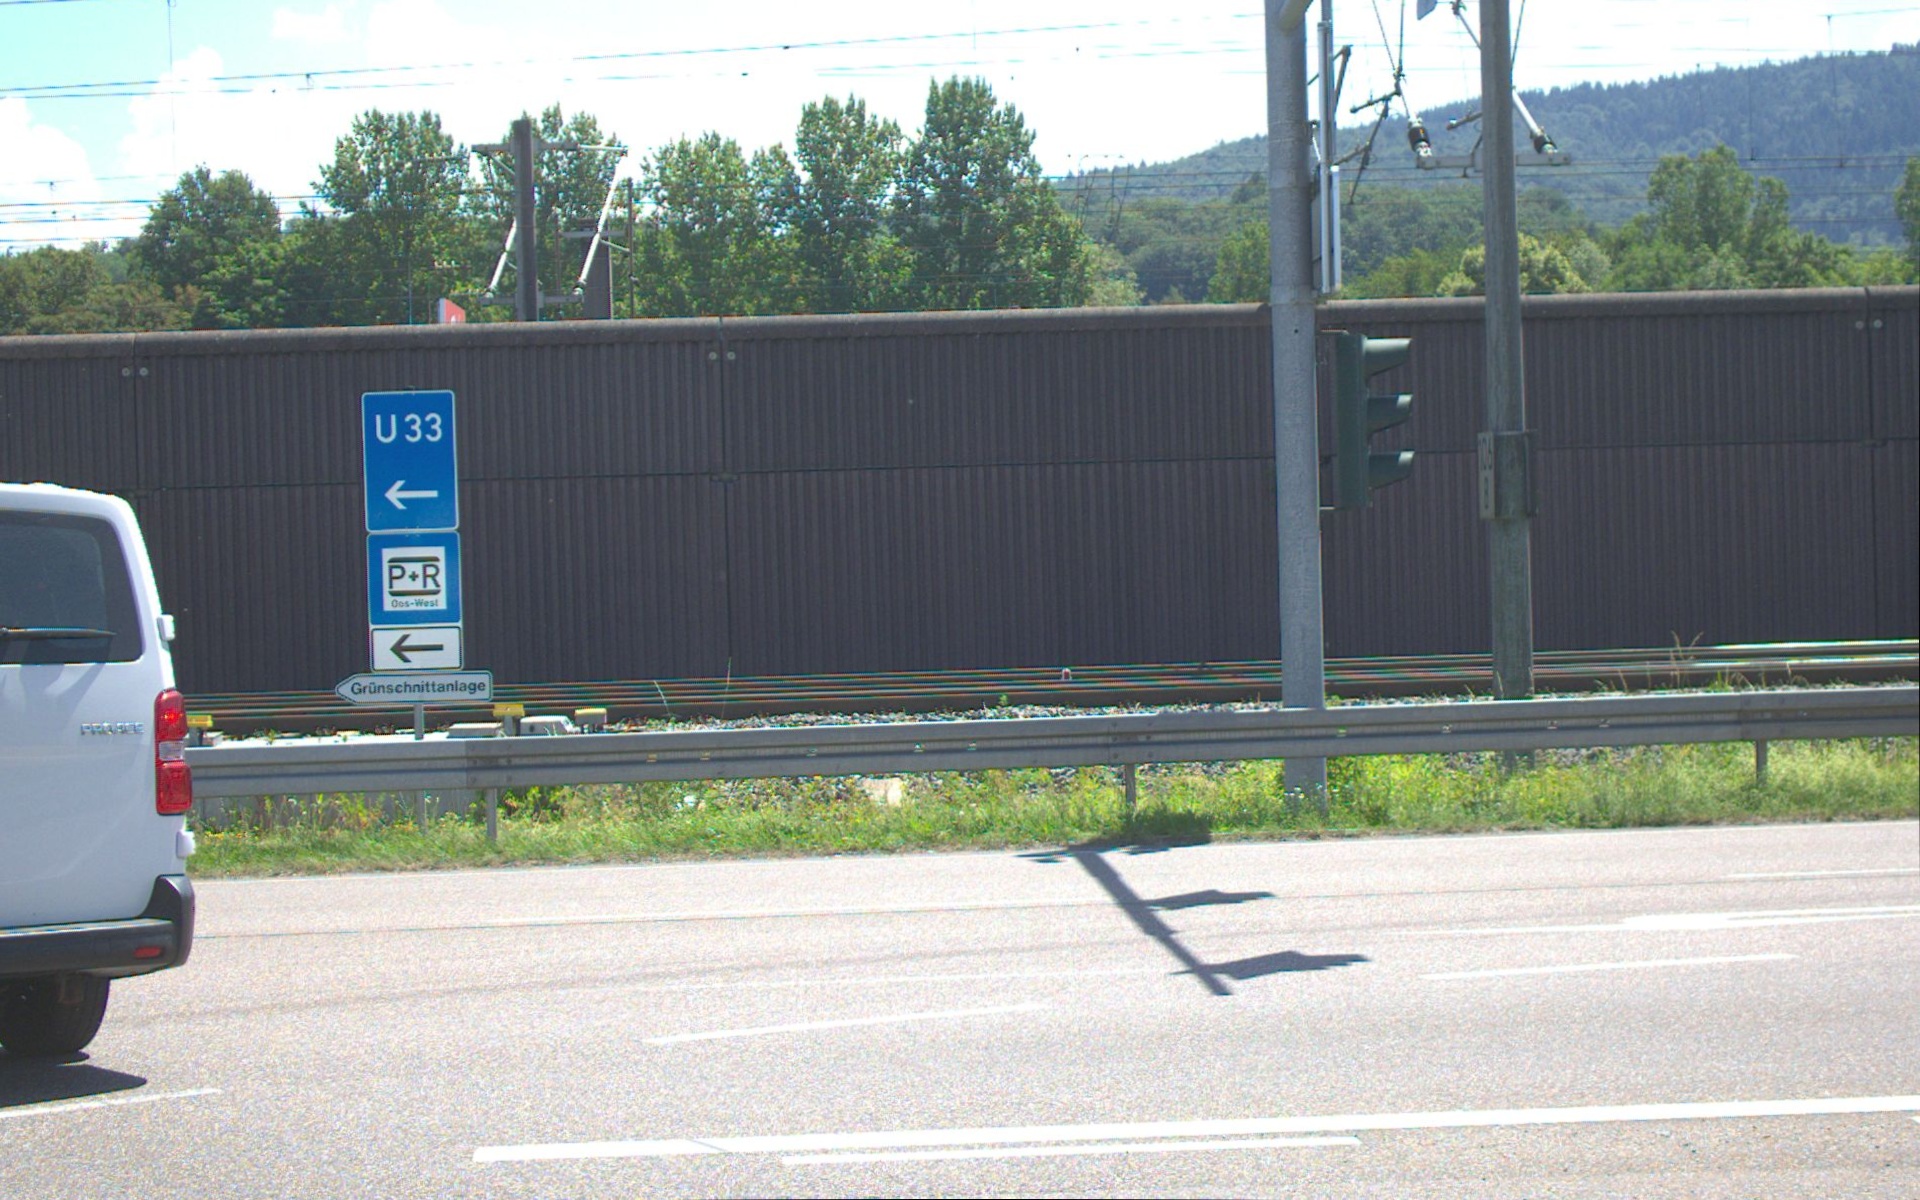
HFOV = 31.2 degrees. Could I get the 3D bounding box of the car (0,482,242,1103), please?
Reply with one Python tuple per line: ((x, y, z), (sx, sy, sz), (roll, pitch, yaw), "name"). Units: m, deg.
((-4.603, 0.646, 12.140), (1.946, 1.875, 4.878), (0, -1, -40), "car")
